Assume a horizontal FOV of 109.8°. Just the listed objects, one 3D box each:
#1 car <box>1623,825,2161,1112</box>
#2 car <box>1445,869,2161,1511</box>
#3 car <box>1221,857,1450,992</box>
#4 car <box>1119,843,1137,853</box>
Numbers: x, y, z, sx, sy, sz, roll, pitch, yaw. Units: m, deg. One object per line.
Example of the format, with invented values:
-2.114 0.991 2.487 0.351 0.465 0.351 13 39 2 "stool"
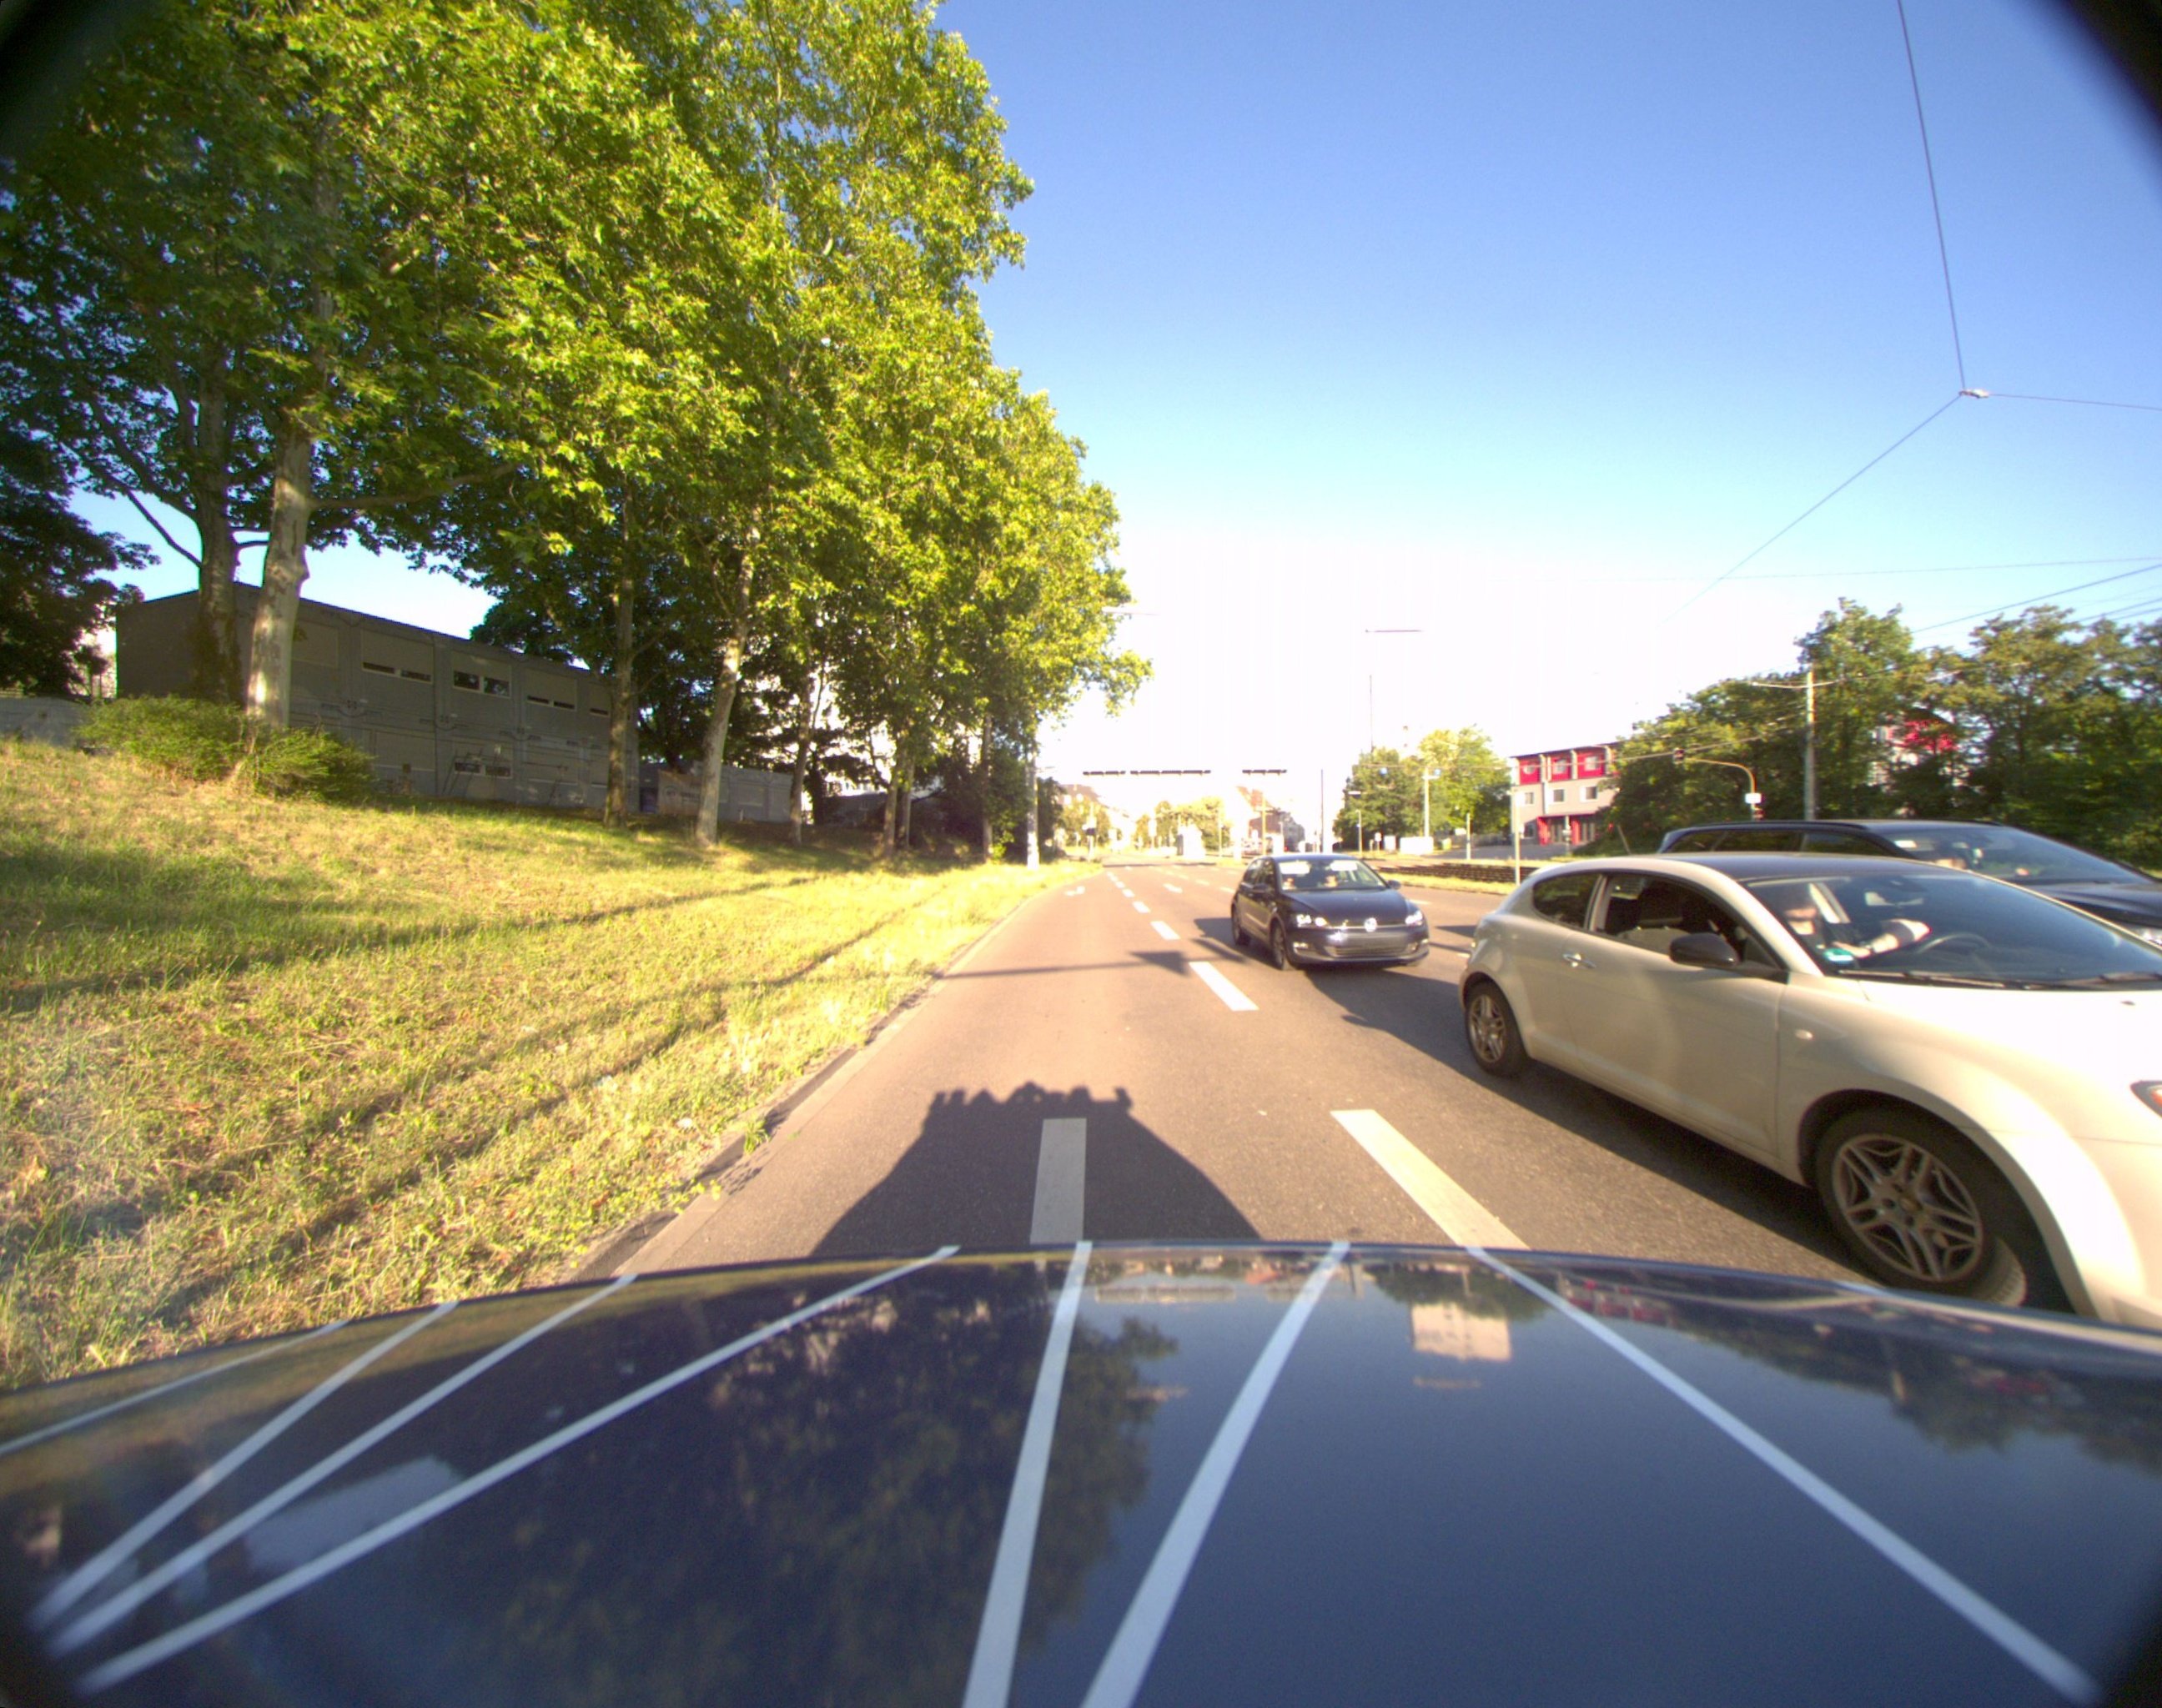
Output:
7.236 0.616 6.581 1.920 1.639 4.602 -1 1 2 "car"
3.430 0.855 3.414 1.665 1.422 3.923 -2 1 -1 "car"
3.210 0.797 10.459 1.782 1.422 3.923 -2 1 -1 "car"
9.501 -1.167 153.811 1.995 1.807 4.007 -2 1 31 "car"
